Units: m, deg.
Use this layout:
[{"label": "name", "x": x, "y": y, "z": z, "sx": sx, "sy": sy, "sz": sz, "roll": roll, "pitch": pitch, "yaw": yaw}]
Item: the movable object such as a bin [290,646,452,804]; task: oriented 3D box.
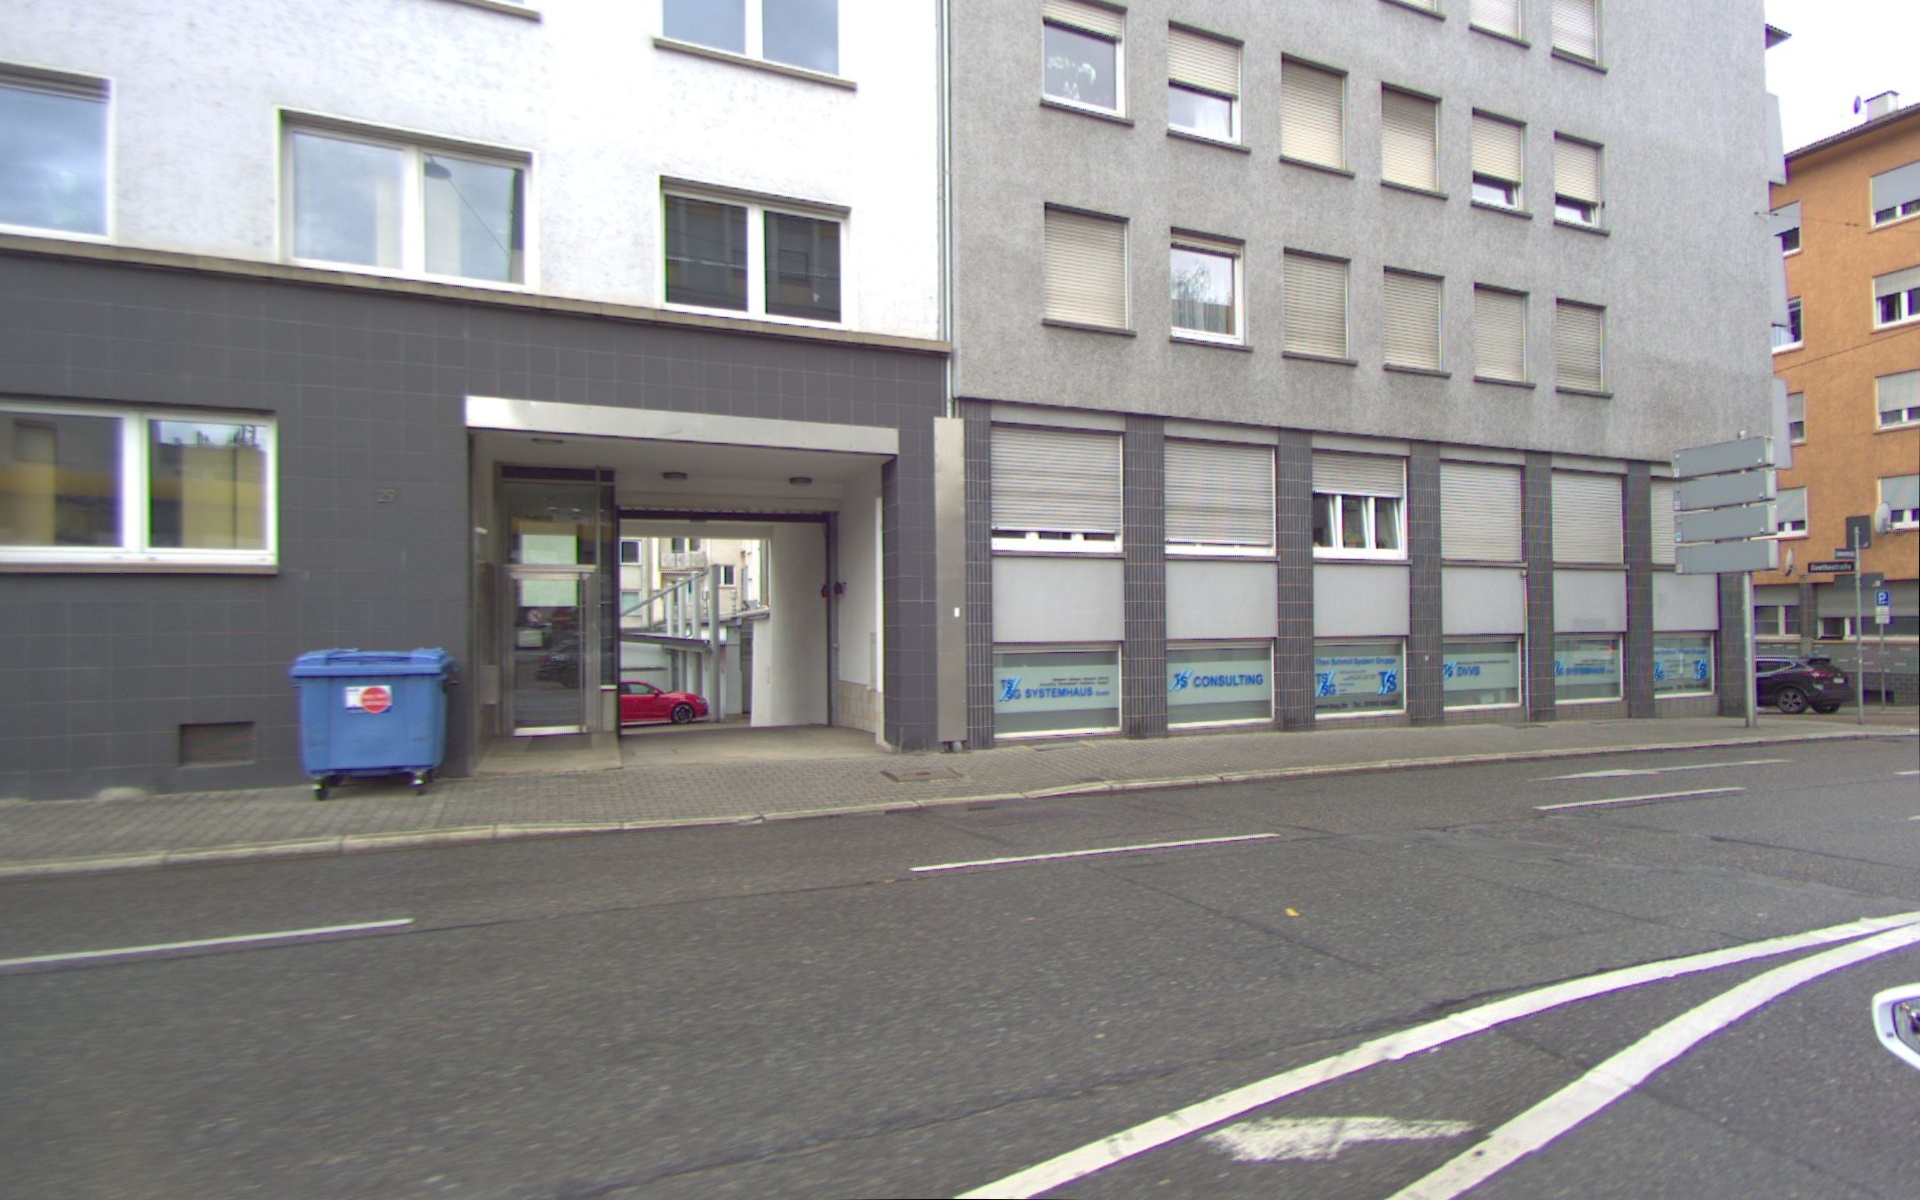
[{"label": "movable object such as a bin", "x": -5.525, "y": 1.126, "z": 9.525, "sx": 1.174, "sy": 1.342, "sz": 1.074, "roll": 1, "pitch": 0, "yaw": -23}]

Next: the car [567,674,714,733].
[{"label": "car", "x": -9.731, "y": 3.097, "z": 30.636, "sx": 4.103, "sy": 1.460, "sz": 1.992, "roll": -2, "pitch": -3, "yaw": -20}]

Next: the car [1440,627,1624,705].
[{"label": "car", "x": 20.069, "y": 2.424, "z": 35.534, "sx": 1.958, "sy": 2.490, "sz": 5.323, "roll": 1, "pitch": -6, "yaw": -28}]

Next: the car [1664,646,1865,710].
[{"label": "car", "x": 22.851, "y": 2.281, "z": 28.721, "sx": 1.902, "sy": 1.673, "sz": 3.981, "roll": 0, "pitch": -6, "yaw": -23}]
